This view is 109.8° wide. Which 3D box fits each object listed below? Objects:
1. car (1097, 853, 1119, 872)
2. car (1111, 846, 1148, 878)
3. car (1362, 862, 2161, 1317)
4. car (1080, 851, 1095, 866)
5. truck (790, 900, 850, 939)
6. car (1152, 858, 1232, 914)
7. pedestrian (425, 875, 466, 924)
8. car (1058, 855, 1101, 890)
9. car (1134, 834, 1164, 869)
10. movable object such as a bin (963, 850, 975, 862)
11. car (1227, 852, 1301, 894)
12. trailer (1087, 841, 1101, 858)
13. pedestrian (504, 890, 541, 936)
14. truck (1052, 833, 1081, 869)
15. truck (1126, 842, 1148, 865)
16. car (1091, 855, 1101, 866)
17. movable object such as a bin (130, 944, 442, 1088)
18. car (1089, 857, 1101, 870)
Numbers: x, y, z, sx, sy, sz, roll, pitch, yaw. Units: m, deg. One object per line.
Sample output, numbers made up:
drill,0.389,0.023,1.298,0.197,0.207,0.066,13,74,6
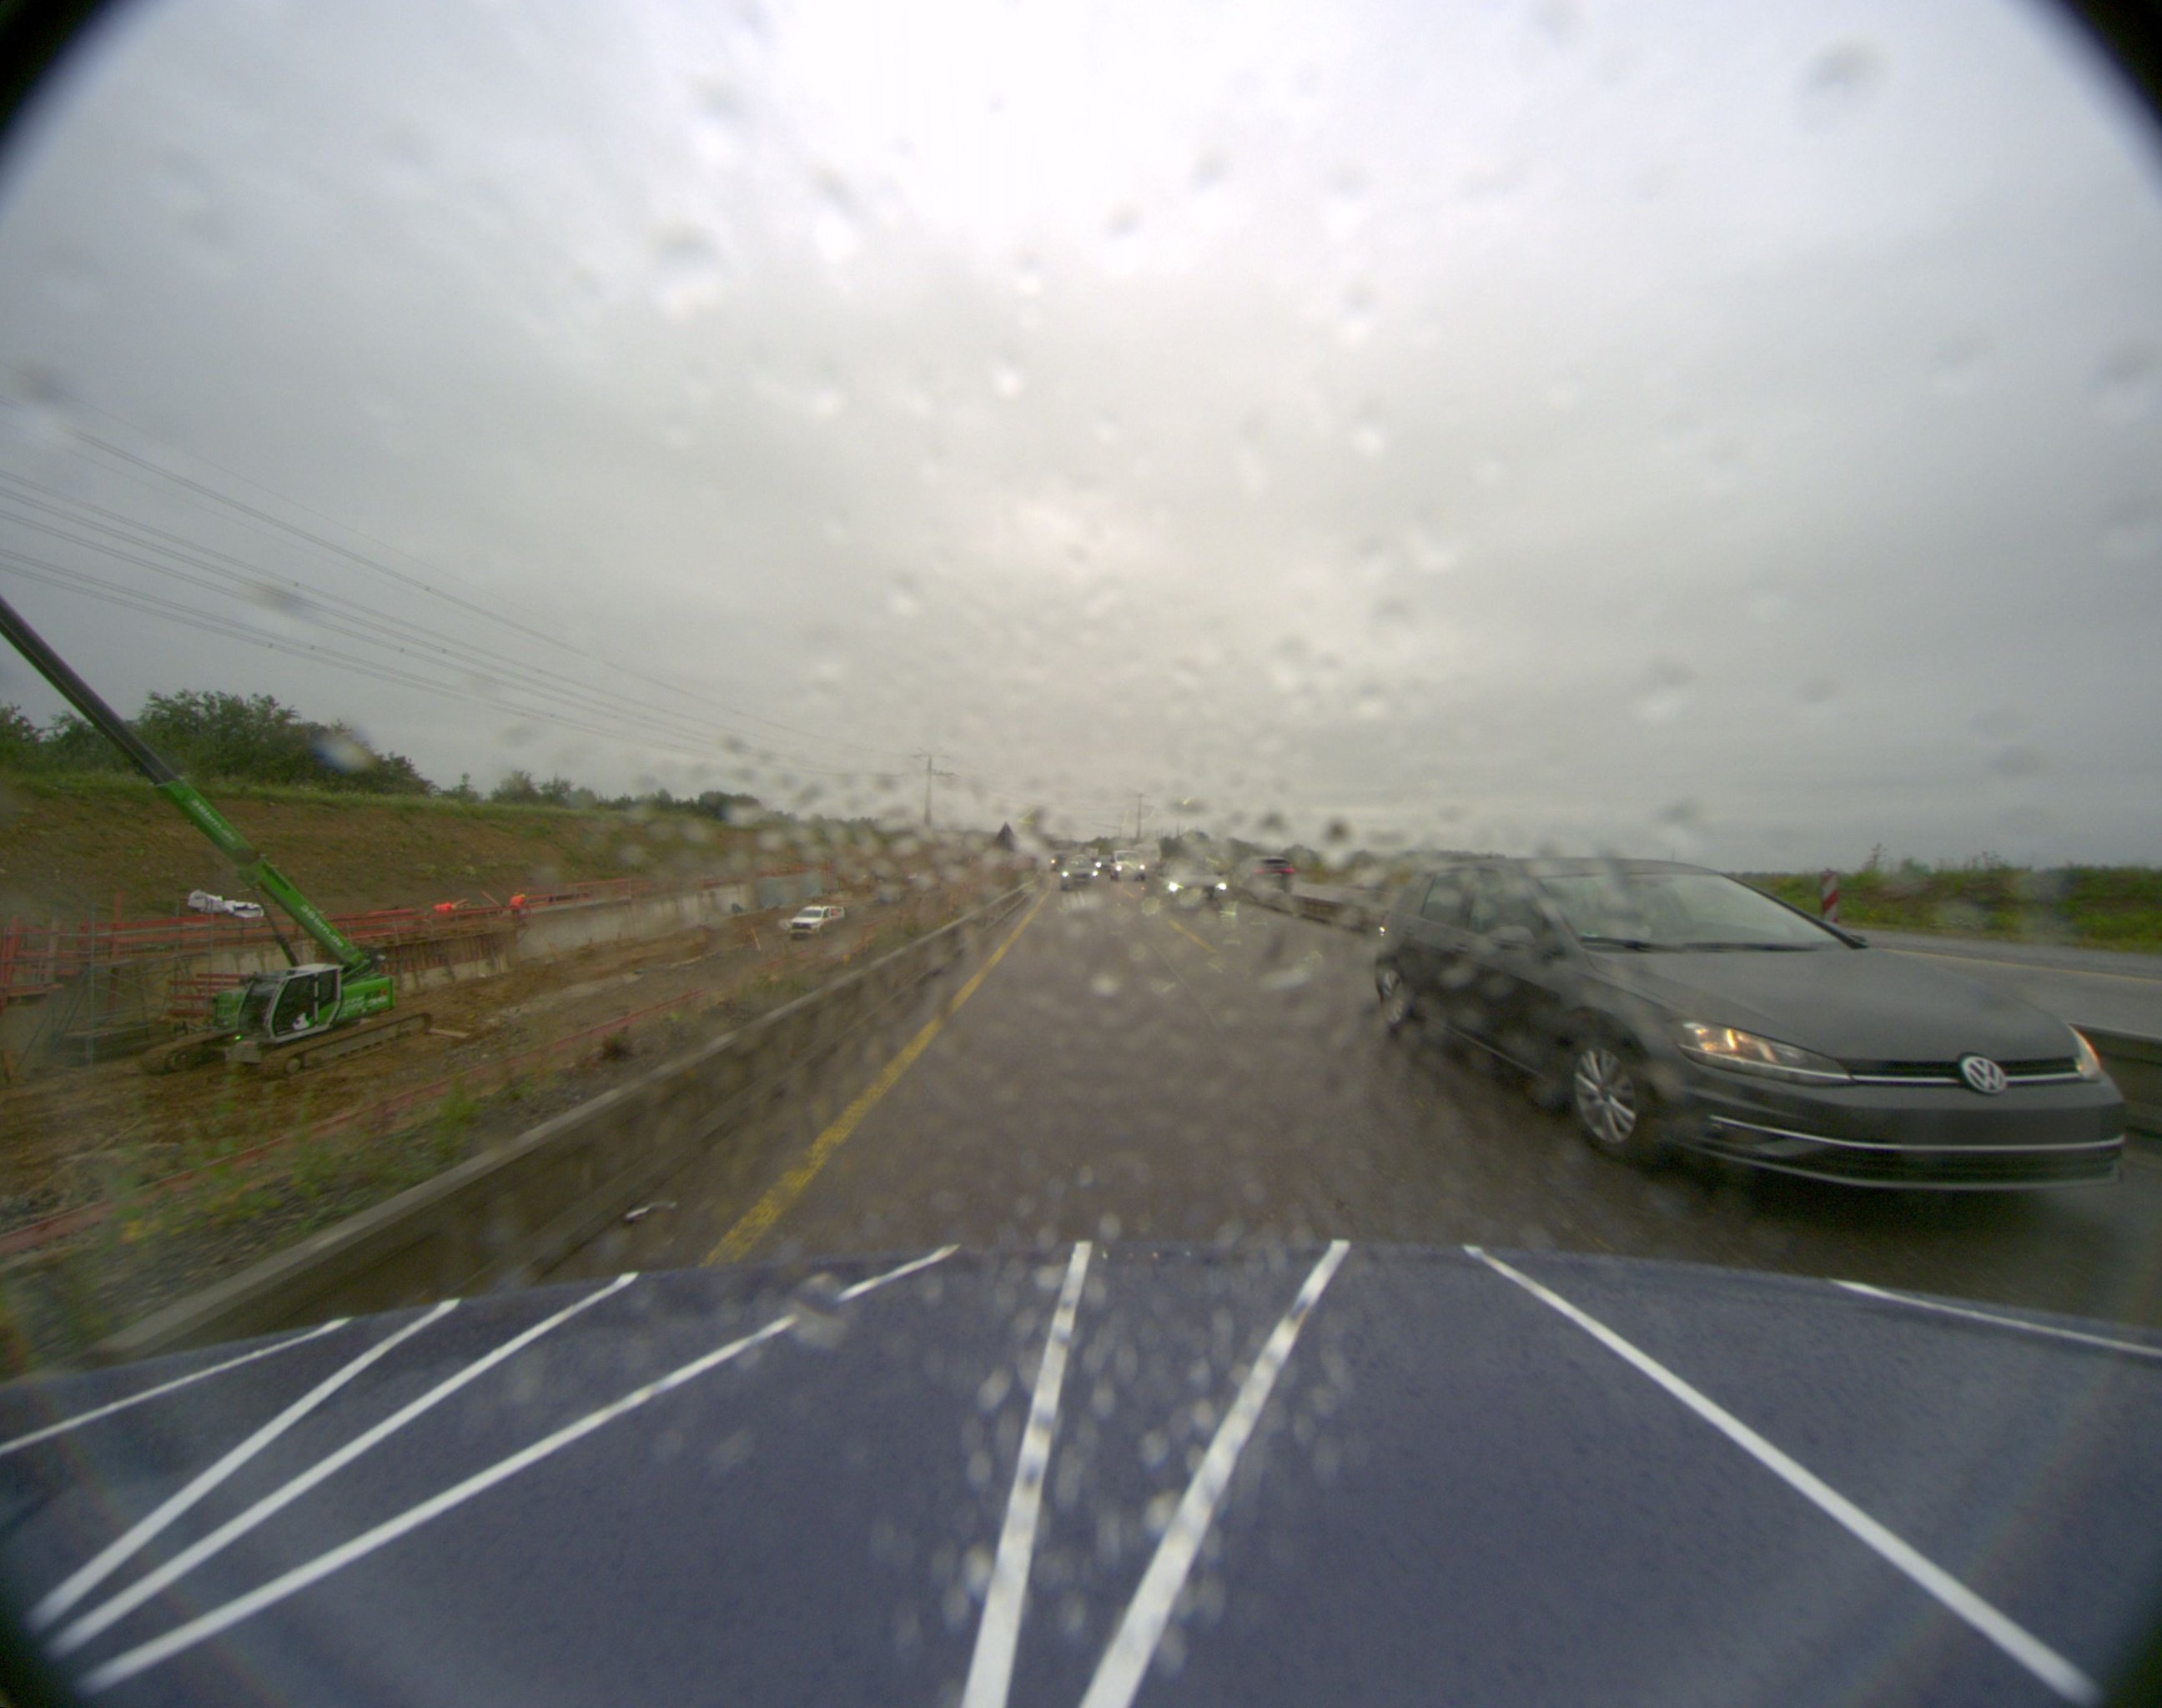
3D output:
car,2.338,0.695,66.365,1.799,1.521,4.067,-2,1,0
car,3.037,0.484,48.795,2.160,1.848,5.179,-2,1,2
car,3.269,0.823,4.606,1.653,1.414,4.080,-1,1,1
car,0.826,0.616,104.831,1.800,1.850,4.285,-2,1,-3
truck,-16.275,4.031,47.716,1.766,1.860,5.785,0,1,1
car,3.224,0.895,22.835,1.799,1.389,4.268,-2,1,1
pedestrian,-31.065,2.221,37.164,0.918,2.233,1.005,-6,2,-3
car,0.006,0.857,37.085,1.799,1.524,4.308,-2,0,3
car,6.269,-0.231,71.154,1.999,3.028,7.170,-2,0,-1
movable object such as a bin,-25.449,0.455,172.987,2.252,2.703,3.998,-2,1,-3
car,7.396,0.698,31.171,1.899,1.488,4.580,-2,1,0
trailer,3.213,-1.218,194.981,2.794,4.176,13.669,0,0,-3
pedestrian,-29.500,3.114,40.175,0.917,2.219,1.006,-6,2,4
truck,-1.511,-0.396,83.707,2.837,3.617,9.118,-2,1,0
truck,7.363,-0.015,100.499,2.365,2.877,6.548,1,0,-1
car,2.654,1.103,136.652,1.799,1.850,4.286,-2,1,1
movable object such as a bin,-22.873,4.549,22.365,3.802,2.790,4.849,-1,6,0
car,2.113,1.404,117.380,1.799,1.850,4.286,-2,1,1
